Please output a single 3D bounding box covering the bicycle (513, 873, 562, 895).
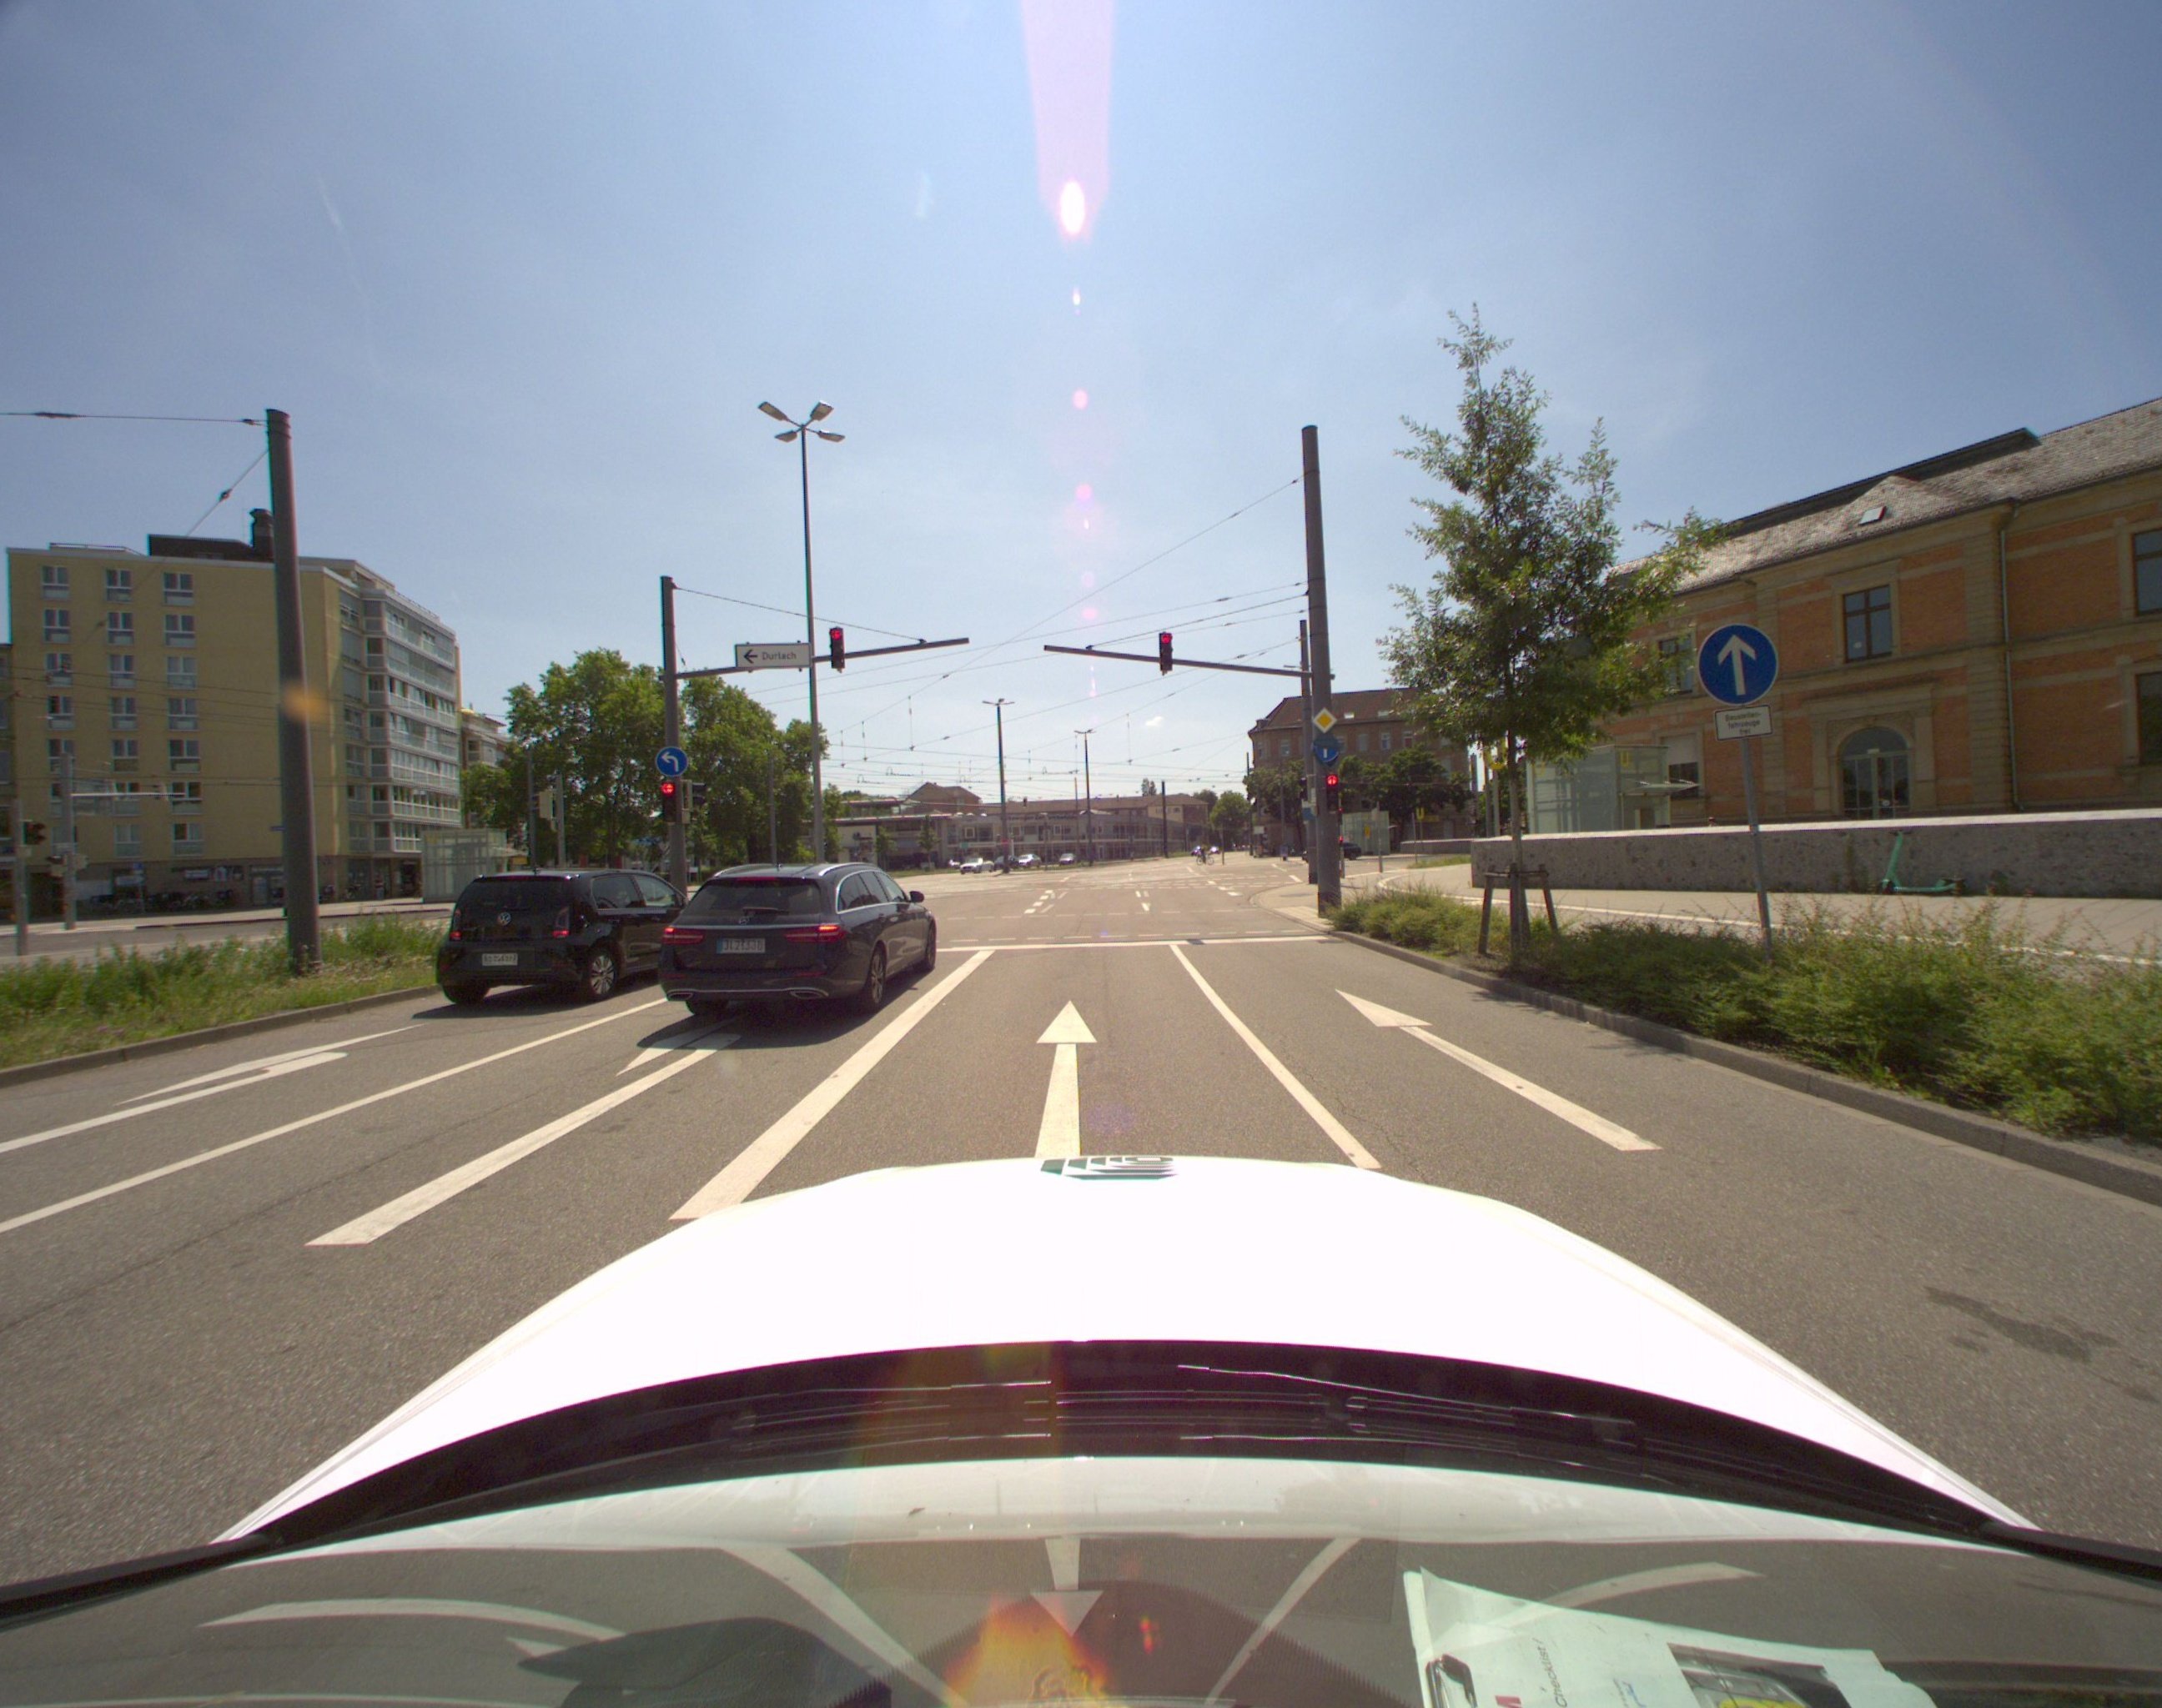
[{"bbox_3d":[-37.873,2.061,56.777,2.772,1.385,0.669,-2,2,-7],"label":"bicycle"}]

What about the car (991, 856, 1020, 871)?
[{"bbox_3d":[-7.344,0.874,79.183,1.526,1.278,3.556,-1,2,18],"label":"car"}]

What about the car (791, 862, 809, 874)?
[{"bbox_3d":[-37.930,1.895,109.979,1.507,1.418,3.415,-2,2,-5],"label":"car"}]

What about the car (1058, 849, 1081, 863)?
[{"bbox_3d":[-1.307,0.205,93.999,1.558,1.427,3.631,-1,2,18],"label":"car"}]

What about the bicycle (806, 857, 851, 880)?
[{"bbox_3d":[-17.551,1.008,56.636,2.818,1.463,0.633,-2,2,-2],"label":"bicycle"}]

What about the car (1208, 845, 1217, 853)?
[{"bbox_3d":[26.395,-0.975,163.454,1.575,1.528,3.727,-1,2,11],"label":"car"}]

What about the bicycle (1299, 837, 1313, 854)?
[{"bbox_3d":[24.494,-0.930,88.614,0.610,1.788,3.182,-2,2,1],"label":"bicycle"}]

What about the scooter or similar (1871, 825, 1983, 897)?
[{"bbox_3d":[14.560,0.096,14.050,0.398,1.167,1.281,-2,2,-22],"label":"scooter or similar"}]

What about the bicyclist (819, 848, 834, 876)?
[{"bbox_3d":[-17.692,0.561,56.617,0.761,1.937,0.660,-2,2,-1],"label":"bicyclist"}]

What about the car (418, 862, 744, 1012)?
[{"bbox_3d":[-5.988,0.877,10.412,1.615,1.463,4.000,-2,0,1],"label":"car"}]

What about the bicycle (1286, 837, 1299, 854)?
[{"bbox_3d":[23.065,-0.969,88.700,0.610,1.788,3.182,-2,2,1],"label":"bicycle"}]

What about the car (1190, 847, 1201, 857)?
[{"bbox_3d":[19.728,-0.366,140.221,1.520,1.458,3.565,-1,2,12],"label":"car"}]

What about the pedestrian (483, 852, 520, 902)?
[{"bbox_3d":[-35.761,1.411,50.254,1.211,2.937,1.335,-2,2,-3],"label":"pedestrian"}]

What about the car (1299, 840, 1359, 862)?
[{"bbox_3d":[18.663,-0.230,61.276,4.114,1.450,1.687,-2,2,-19],"label":"car"}]

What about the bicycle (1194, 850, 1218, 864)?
[{"bbox_3d":[11.169,0.260,72.839,2.166,1.107,0.454,-2,2,-18],"label":"bicycle"}]

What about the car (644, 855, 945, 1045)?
[{"bbox_3d":[-2.833,0.822,9.258,1.711,1.556,4.586,-2,0,0],"label":"car"}]

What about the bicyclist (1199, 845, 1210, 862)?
[{"bbox_3d":[11.007,-0.045,72.782,0.734,1.479,0.652,-2,2,-18],"label":"bicyclist"}]

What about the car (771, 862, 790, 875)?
[{"bbox_3d":[-40.818,1.935,110.644,1.422,1.508,3.432,-2,2,-5],"label":"car"}]

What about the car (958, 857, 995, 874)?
[{"bbox_3d":[-9.362,1.019,73.267,1.606,1.390,4.143,-2,0,18],"label":"car"}]

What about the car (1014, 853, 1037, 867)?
[{"bbox_3d":[-5.776,0.666,85.249,1.421,1.285,3.273,-1,2,13],"label":"car"}]

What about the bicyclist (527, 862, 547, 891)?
[{"bbox_3d":[-37.904,1.560,56.764,0.845,1.965,0.625,-2,2,-7],"label":"bicyclist"}]
